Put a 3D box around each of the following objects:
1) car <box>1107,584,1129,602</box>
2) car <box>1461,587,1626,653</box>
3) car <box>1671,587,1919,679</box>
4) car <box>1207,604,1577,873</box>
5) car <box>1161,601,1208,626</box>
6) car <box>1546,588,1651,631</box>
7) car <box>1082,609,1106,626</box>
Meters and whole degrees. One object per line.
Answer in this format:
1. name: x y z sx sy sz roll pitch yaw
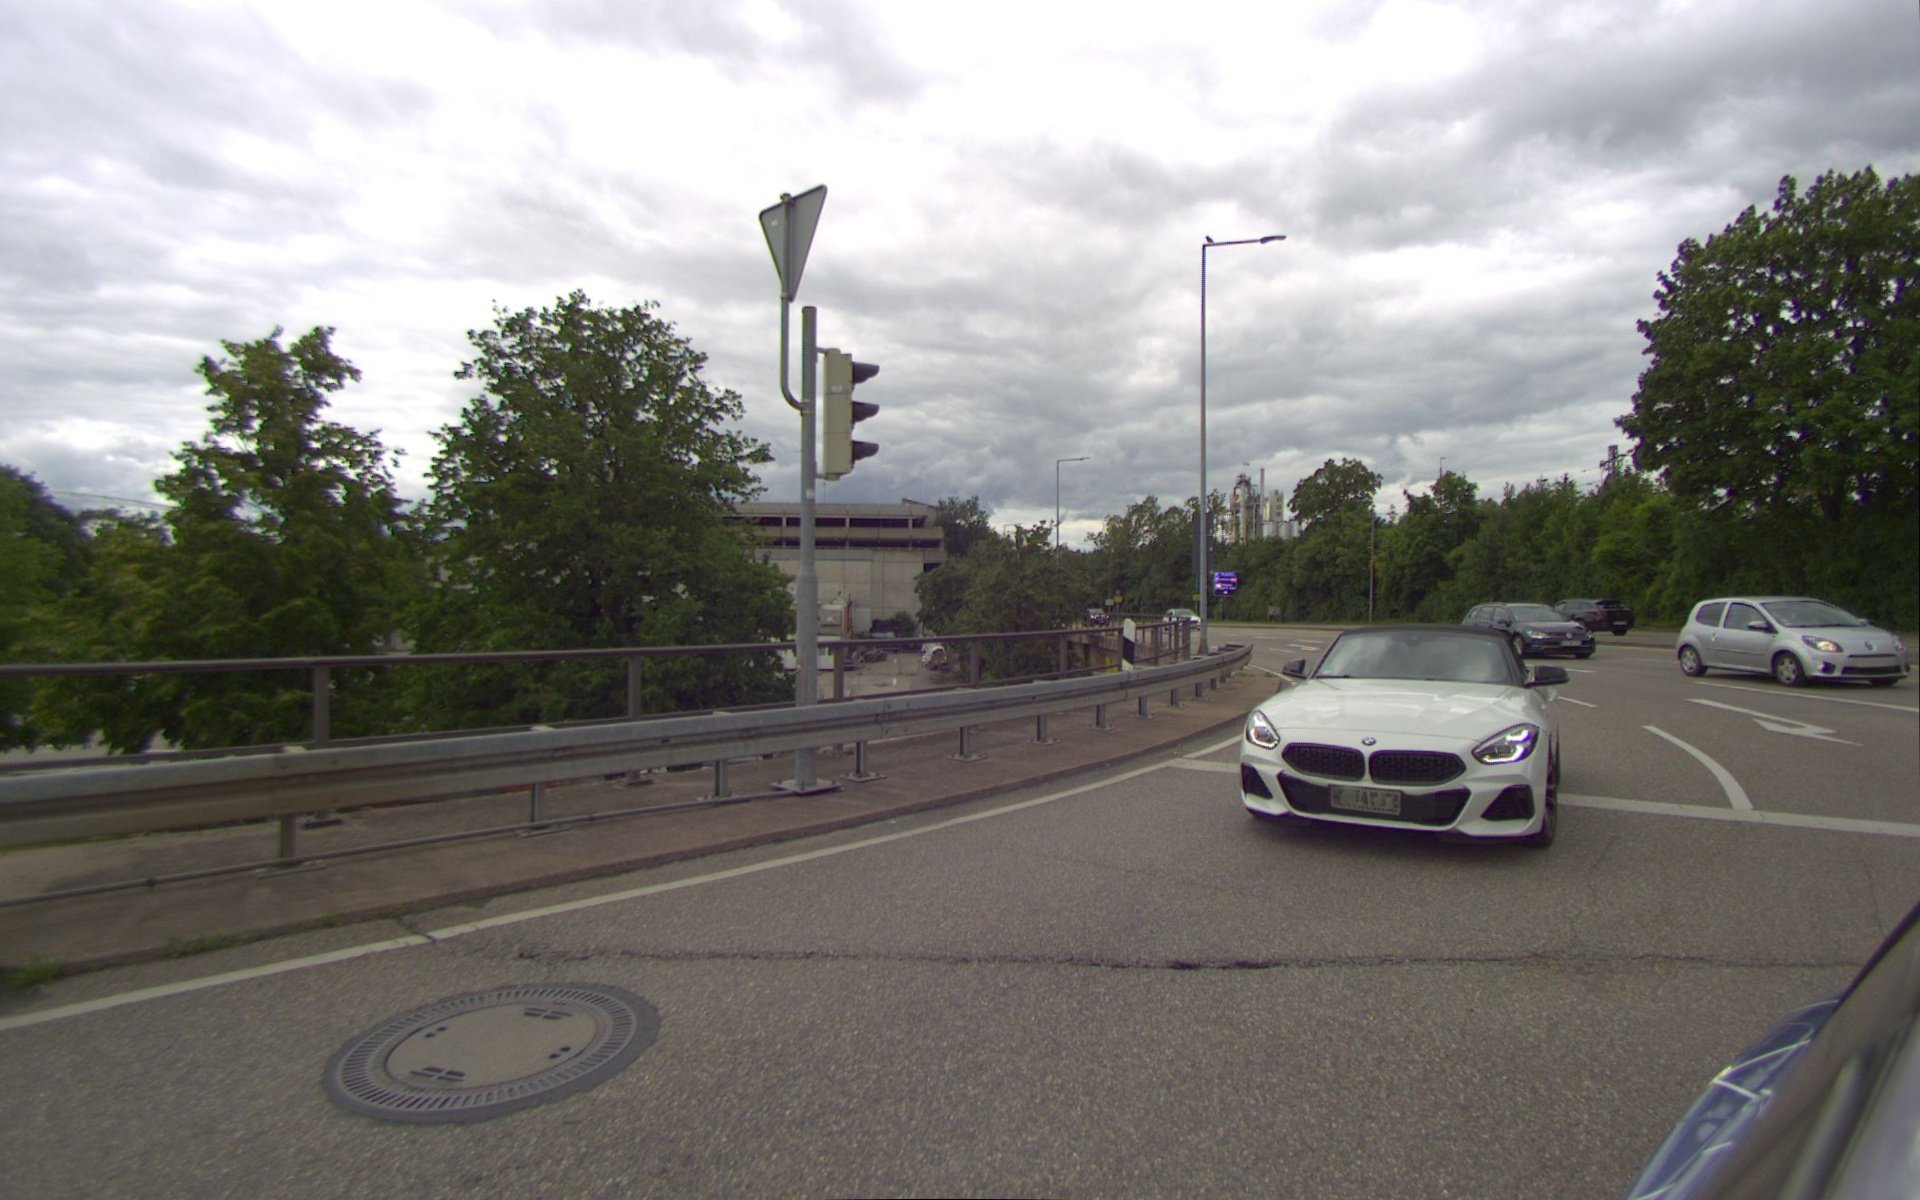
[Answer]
1. car: 17.800 -0.798 114.295 1.617 2.039 3.603 0 0 -4
2. car: 15.304 0.512 26.868 1.912 1.576 4.293 -1 -1 1
3. car: 14.242 0.513 17.310 1.599 1.391 3.746 -1 -1 3
4. car: 3.588 0.740 7.761 1.850 1.362 4.768 -1 -1 32
5. car: 14.764 0.883 66.780 1.841 1.580 4.717 -1 0 -2
6. car: 24.980 0.359 39.744 1.618 1.580 3.844 -1 -1 -1
7. car: 12.753 1.673 96.344 1.618 1.580 3.651 -1 -1 -2
